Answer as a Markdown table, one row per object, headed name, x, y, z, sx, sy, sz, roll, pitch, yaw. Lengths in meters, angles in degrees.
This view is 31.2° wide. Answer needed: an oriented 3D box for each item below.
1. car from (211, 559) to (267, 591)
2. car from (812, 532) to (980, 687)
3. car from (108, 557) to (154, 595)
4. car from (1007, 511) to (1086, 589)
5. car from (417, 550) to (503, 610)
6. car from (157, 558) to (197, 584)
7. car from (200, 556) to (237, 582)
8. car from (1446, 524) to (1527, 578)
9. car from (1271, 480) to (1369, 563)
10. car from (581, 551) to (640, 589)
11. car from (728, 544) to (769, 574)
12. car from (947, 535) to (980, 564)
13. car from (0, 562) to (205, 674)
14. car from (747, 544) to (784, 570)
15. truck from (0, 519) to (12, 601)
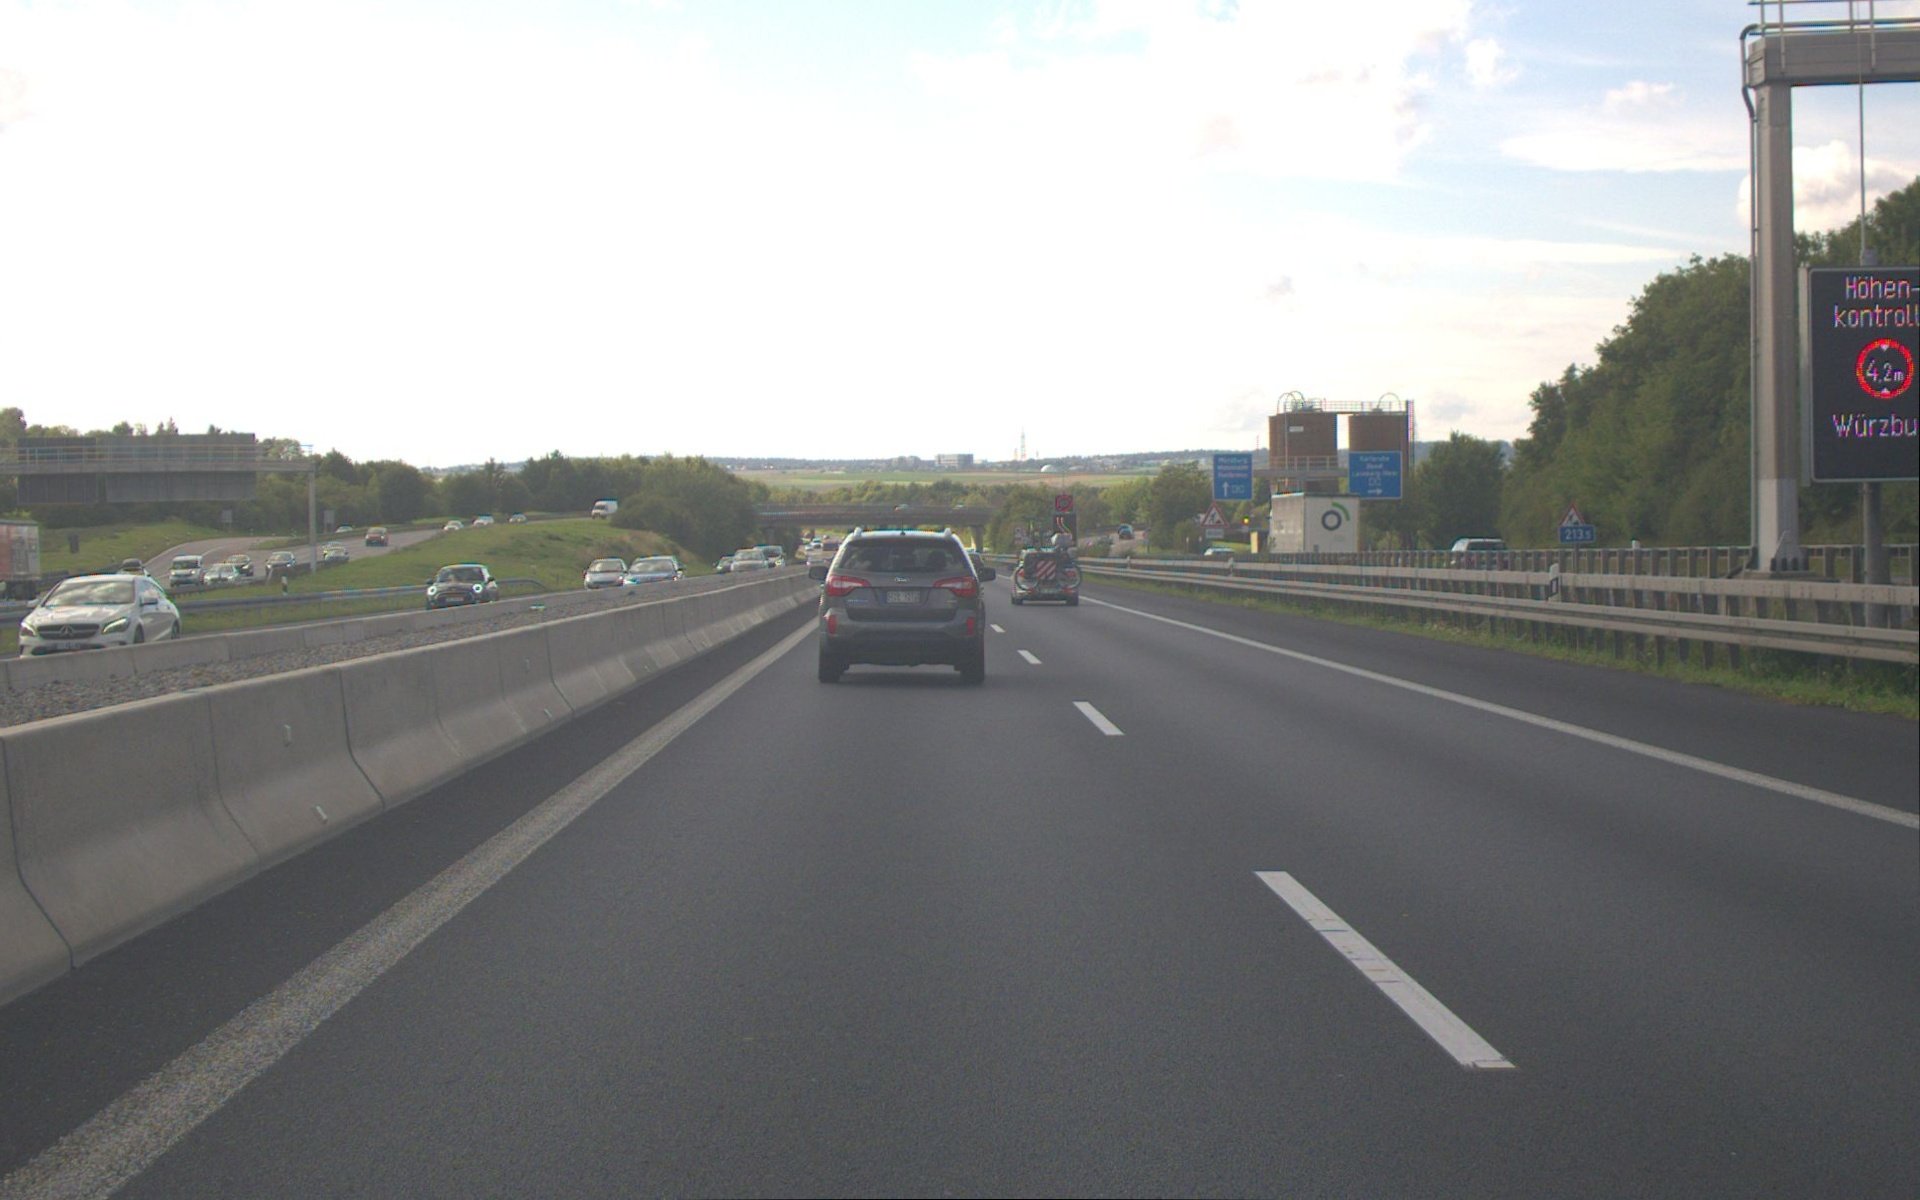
| name | x | y | z | sx | sy | sz | roll | pitch | yaw |
| --- | --- | --- | --- | --- | --- | --- | --- | --- | --- |
| car | -35.841 | -1.266 | 170.945 | 1.942 | 1.489 | 4.128 | -2 | 1 | -1 |
| car | -0.683 | 0.077 | 39.027 | 1.750 | 1.624 | 3.609 | -2 | 1 | 1 |
| car | -43.308 | -1.258 | 179.633 | 1.772 | 1.891 | 4.399 | -2 | 1 | -7 |
| car | 2.396 | -1.390 | 95.917 | 1.993 | 2.073 | 4.000 | -2 | 1 | -1 |
| car | -14.188 | -0.580 | 97.685 | 1.801 | 1.612 | 4.302 | -2 | 1 | -1 |
| car | -48.648 | -1.798 | 213.696 | 1.772 | 1.542 | 4.891 | -2 | 1 | -6 |
| car | -42.633 | -1.779 | 197.748 | 1.772 | 1.395 | 4.400 | -2 | 1 | -9 |
| car | 17.398 | -1.618 | 113.750 | 1.993 | 1.711 | 4.000 | -2 | 1 | -1 |
| car | 16.739 | -3.638 | 160.347 | 3.576 | 3.664 | 7.549 | -2 | 1 | -1 |
| car | -14.405 | -1.248 | 141.834 | 1.993 | 1.451 | 4.181 | -2 | 1 | -1 |
| car | -11.413 | -2.204 | 185.871 | 1.993 | 1.527 | 5.022 | -2 | 1 | -1 |
| car | 0.211 | -3.182 | 216.870 | 1.975 | 1.773 | 4.120 | -2 | 1 | -1 |
| car | -13.448 | 0.246 | 54.175 | 1.993 | 1.612 | 5.003 | -2 | 1 | -1 |
| car | -11.886 | -2.621 | 210.166 | 1.993 | 1.527 | 5.748 | -2 | 1 | -1 |
| truck | -44.766 | -1.810 | 156.637 | 1.993 | 3.748 | 5.151 | -2 | 1 | -5 |
